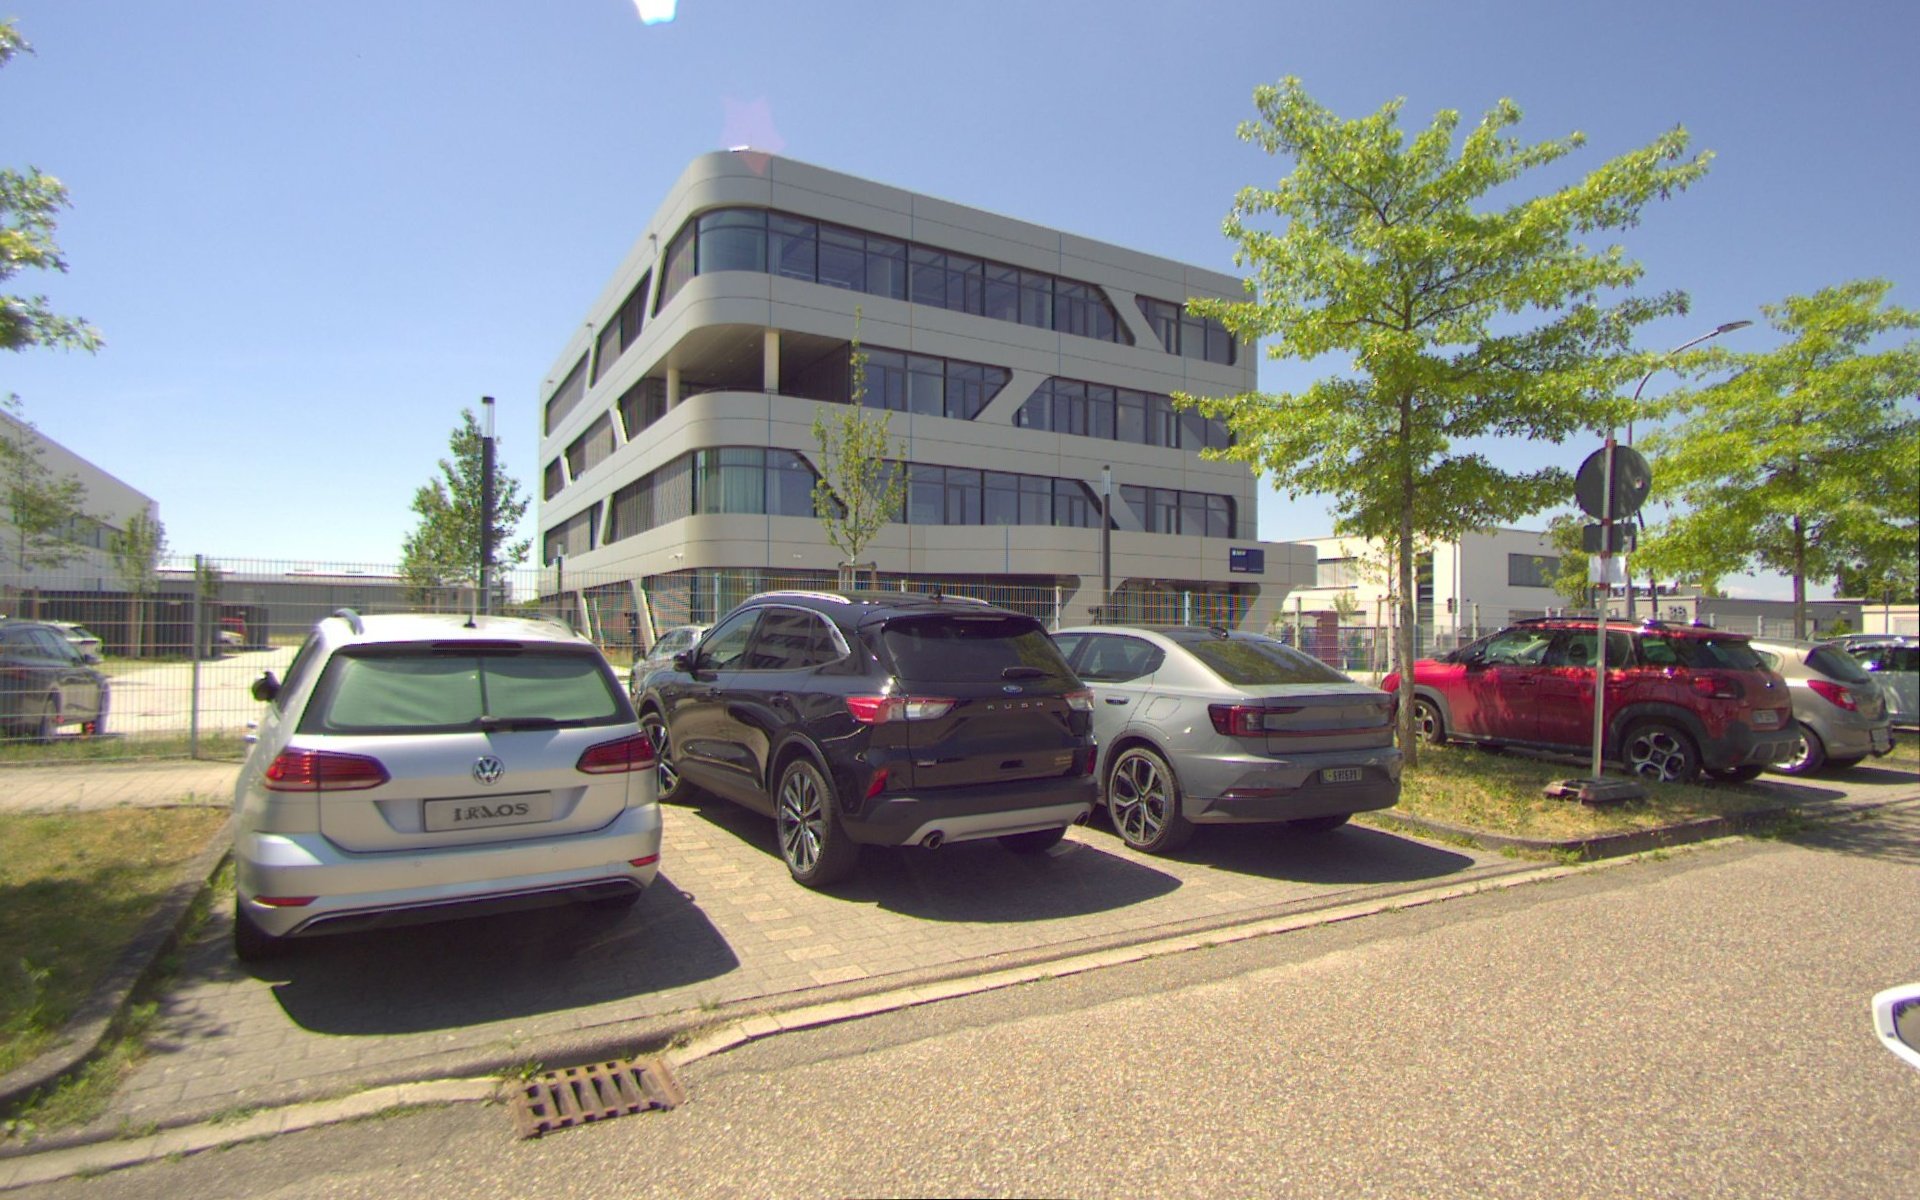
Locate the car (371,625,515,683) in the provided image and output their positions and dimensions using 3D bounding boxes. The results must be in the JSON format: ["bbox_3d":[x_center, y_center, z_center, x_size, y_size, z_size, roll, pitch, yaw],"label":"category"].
[{"bbox_3d":[-16.416,1.694,31.938,3.953,1.739,1.984,1,-3,-31],"label":"car"}]

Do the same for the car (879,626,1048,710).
[{"bbox_3d":[-0.030,1.257,18.818,1.658,1.408,3.463,1,-4,-30],"label":"car"}]

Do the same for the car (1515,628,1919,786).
[{"bbox_3d":[9.096,1.156,12.324,1.713,1.528,3.635,1,0,-33],"label":"car"}]

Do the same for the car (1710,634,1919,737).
[{"bbox_3d":[14.784,1.344,16.087,1.854,1.443,4.051,1,0,-33],"label":"car"}]

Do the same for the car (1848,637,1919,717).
[{"bbox_3d":[19.021,1.477,18.550,1.707,1.455,3.605,1,0,-32],"label":"car"}]

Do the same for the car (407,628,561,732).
[{"bbox_3d":[-6.714,1.108,14.003,1.658,1.254,3.464,1,-5,-30],"label":"car"}]

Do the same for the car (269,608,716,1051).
[{"bbox_3d":[-2.808,0.837,5.658,1.587,1.480,4.014,1,0,-32],"label":"car"}]

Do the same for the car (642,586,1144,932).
[{"bbox_3d":[-0.757,0.776,7.083,1.759,1.701,3.961,1,0,-34],"label":"car"}]

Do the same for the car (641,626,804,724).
[{"bbox_3d":[-3.953,1.170,16.362,1.658,1.409,3.463,1,-3,-30],"label":"car"}]

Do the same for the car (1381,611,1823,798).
[{"bbox_3d":[6.827,0.973,11.093,1.794,1.643,3.721,1,0,-29],"label":"car"}]

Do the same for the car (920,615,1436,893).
[{"bbox_3d":[1.377,0.933,8.019,1.692,1.500,4.174,1,0,-29],"label":"car"}]

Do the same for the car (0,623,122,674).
[{"bbox_3d":[-25.114,1.264,26.706,3.954,1.243,1.984,5,-4,-30],"label":"car"}]

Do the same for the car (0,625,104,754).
[{"bbox_3d":[-11.606,1.085,11.917,1.660,1.349,3.966,1,-5,-33],"label":"car"}]

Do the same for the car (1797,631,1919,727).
[{"bbox_3d":[16.870,1.363,16.931,1.765,1.541,3.905,1,0,-32],"label":"car"}]
